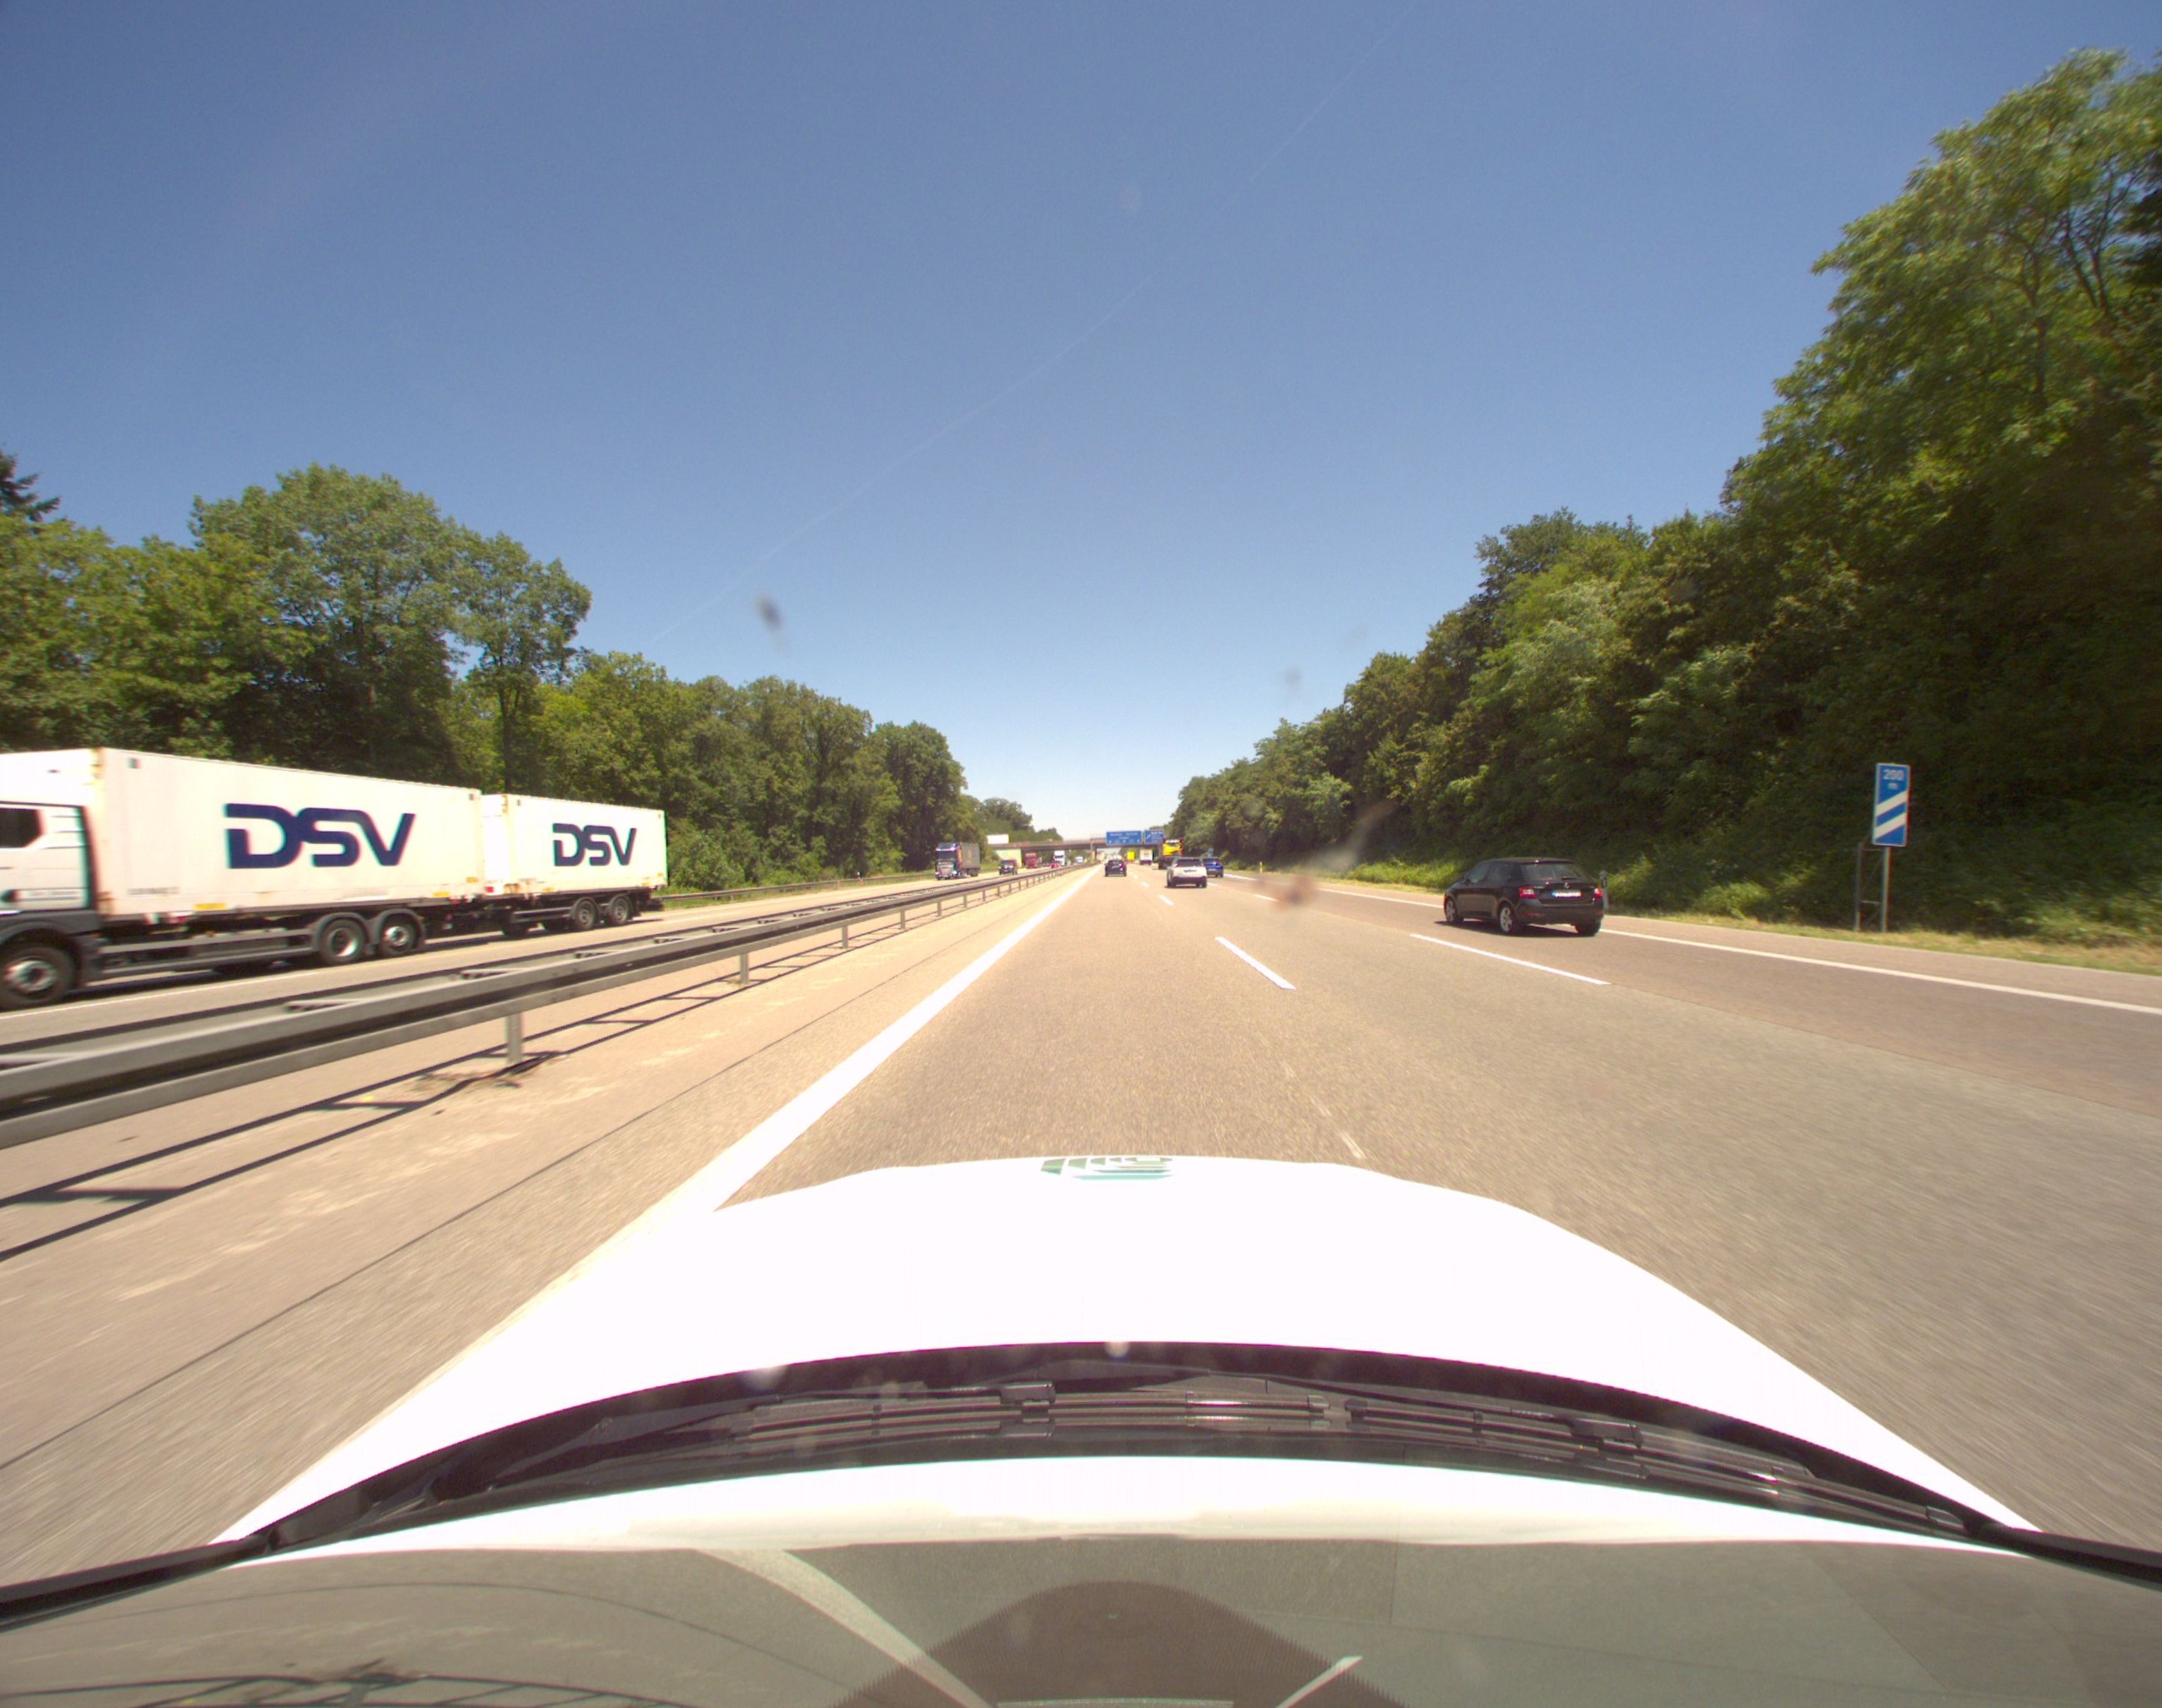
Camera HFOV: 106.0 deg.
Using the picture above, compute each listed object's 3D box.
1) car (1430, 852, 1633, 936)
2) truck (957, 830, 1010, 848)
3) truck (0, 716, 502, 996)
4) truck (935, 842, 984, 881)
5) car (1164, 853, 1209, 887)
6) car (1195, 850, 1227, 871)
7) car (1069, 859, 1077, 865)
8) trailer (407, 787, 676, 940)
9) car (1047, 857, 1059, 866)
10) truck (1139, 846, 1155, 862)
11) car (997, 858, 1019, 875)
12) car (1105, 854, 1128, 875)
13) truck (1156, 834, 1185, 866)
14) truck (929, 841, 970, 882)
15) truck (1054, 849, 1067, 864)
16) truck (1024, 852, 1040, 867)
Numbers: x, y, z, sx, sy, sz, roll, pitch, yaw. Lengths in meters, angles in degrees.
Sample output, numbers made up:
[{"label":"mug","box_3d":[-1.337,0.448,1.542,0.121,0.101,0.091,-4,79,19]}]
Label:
[{"label":"car","box_3d":[8.754,0.716,16.348,1.663,1.447,4.575,0,-1,2]},{"label":"truck","box_3d":[-30.397,-4.710,254.317,16.437,5.566,3.168,0,-1,-6]},{"label":"truck","box_3d":[-16.625,0.086,16.189,2.571,4.008,10.342,0,-1,2]},{"label":"truck","box_3d":[-14.414,0.933,97.856,3.311,4.342,13.915,0,-1,2]},{"label":"car","box_3d":[5.381,0.810,42.126,1.820,1.608,4.810,-1,-1,2]},{"label":"car","box_3d":[9.768,0.511,61.509,1.863,1.556,4.203,0,-1,2]},{"label":"car","box_3d":[-2.041,2.208,217.629,1.800,1.591,4.671,0,-1,2]},{"label":"trailer","box_3d":[-16.325,0.296,25.722,2.569,3.989,8.562,0,-1,2]},{"label":"car","box_3d":[-4.891,1.297,144.024,1.724,1.585,4.648,0,-1,3]},{"label":"truck","box_3d":[14.866,0.086,182.798,3.013,3.319,10.789,-1,-1,6]},{"label":"car","box_3d":[-9.308,1.606,104.070,1.986,2.013,5.361,-4,-1,2]},{"label":"car","box_3d":[2.931,0.887,67.703,1.820,1.706,4.001,0,-1,2]},{"label":"truck","box_3d":[11.624,-0.432,106.803,2.963,4.037,10.986,0,-1,2]},{"label":"truck","box_3d":[-14.611,0.858,90.908,3.311,4.342,6.615,0,-1,2]},{"label":"truck","box_3d":[-5.443,0.786,220.560,2.974,4.019,6.045,0,-1,3]},{"label":"truck","box_3d":[-11.251,1.199,187.238,2.738,3.394,7.665,0,-1,2]}]
